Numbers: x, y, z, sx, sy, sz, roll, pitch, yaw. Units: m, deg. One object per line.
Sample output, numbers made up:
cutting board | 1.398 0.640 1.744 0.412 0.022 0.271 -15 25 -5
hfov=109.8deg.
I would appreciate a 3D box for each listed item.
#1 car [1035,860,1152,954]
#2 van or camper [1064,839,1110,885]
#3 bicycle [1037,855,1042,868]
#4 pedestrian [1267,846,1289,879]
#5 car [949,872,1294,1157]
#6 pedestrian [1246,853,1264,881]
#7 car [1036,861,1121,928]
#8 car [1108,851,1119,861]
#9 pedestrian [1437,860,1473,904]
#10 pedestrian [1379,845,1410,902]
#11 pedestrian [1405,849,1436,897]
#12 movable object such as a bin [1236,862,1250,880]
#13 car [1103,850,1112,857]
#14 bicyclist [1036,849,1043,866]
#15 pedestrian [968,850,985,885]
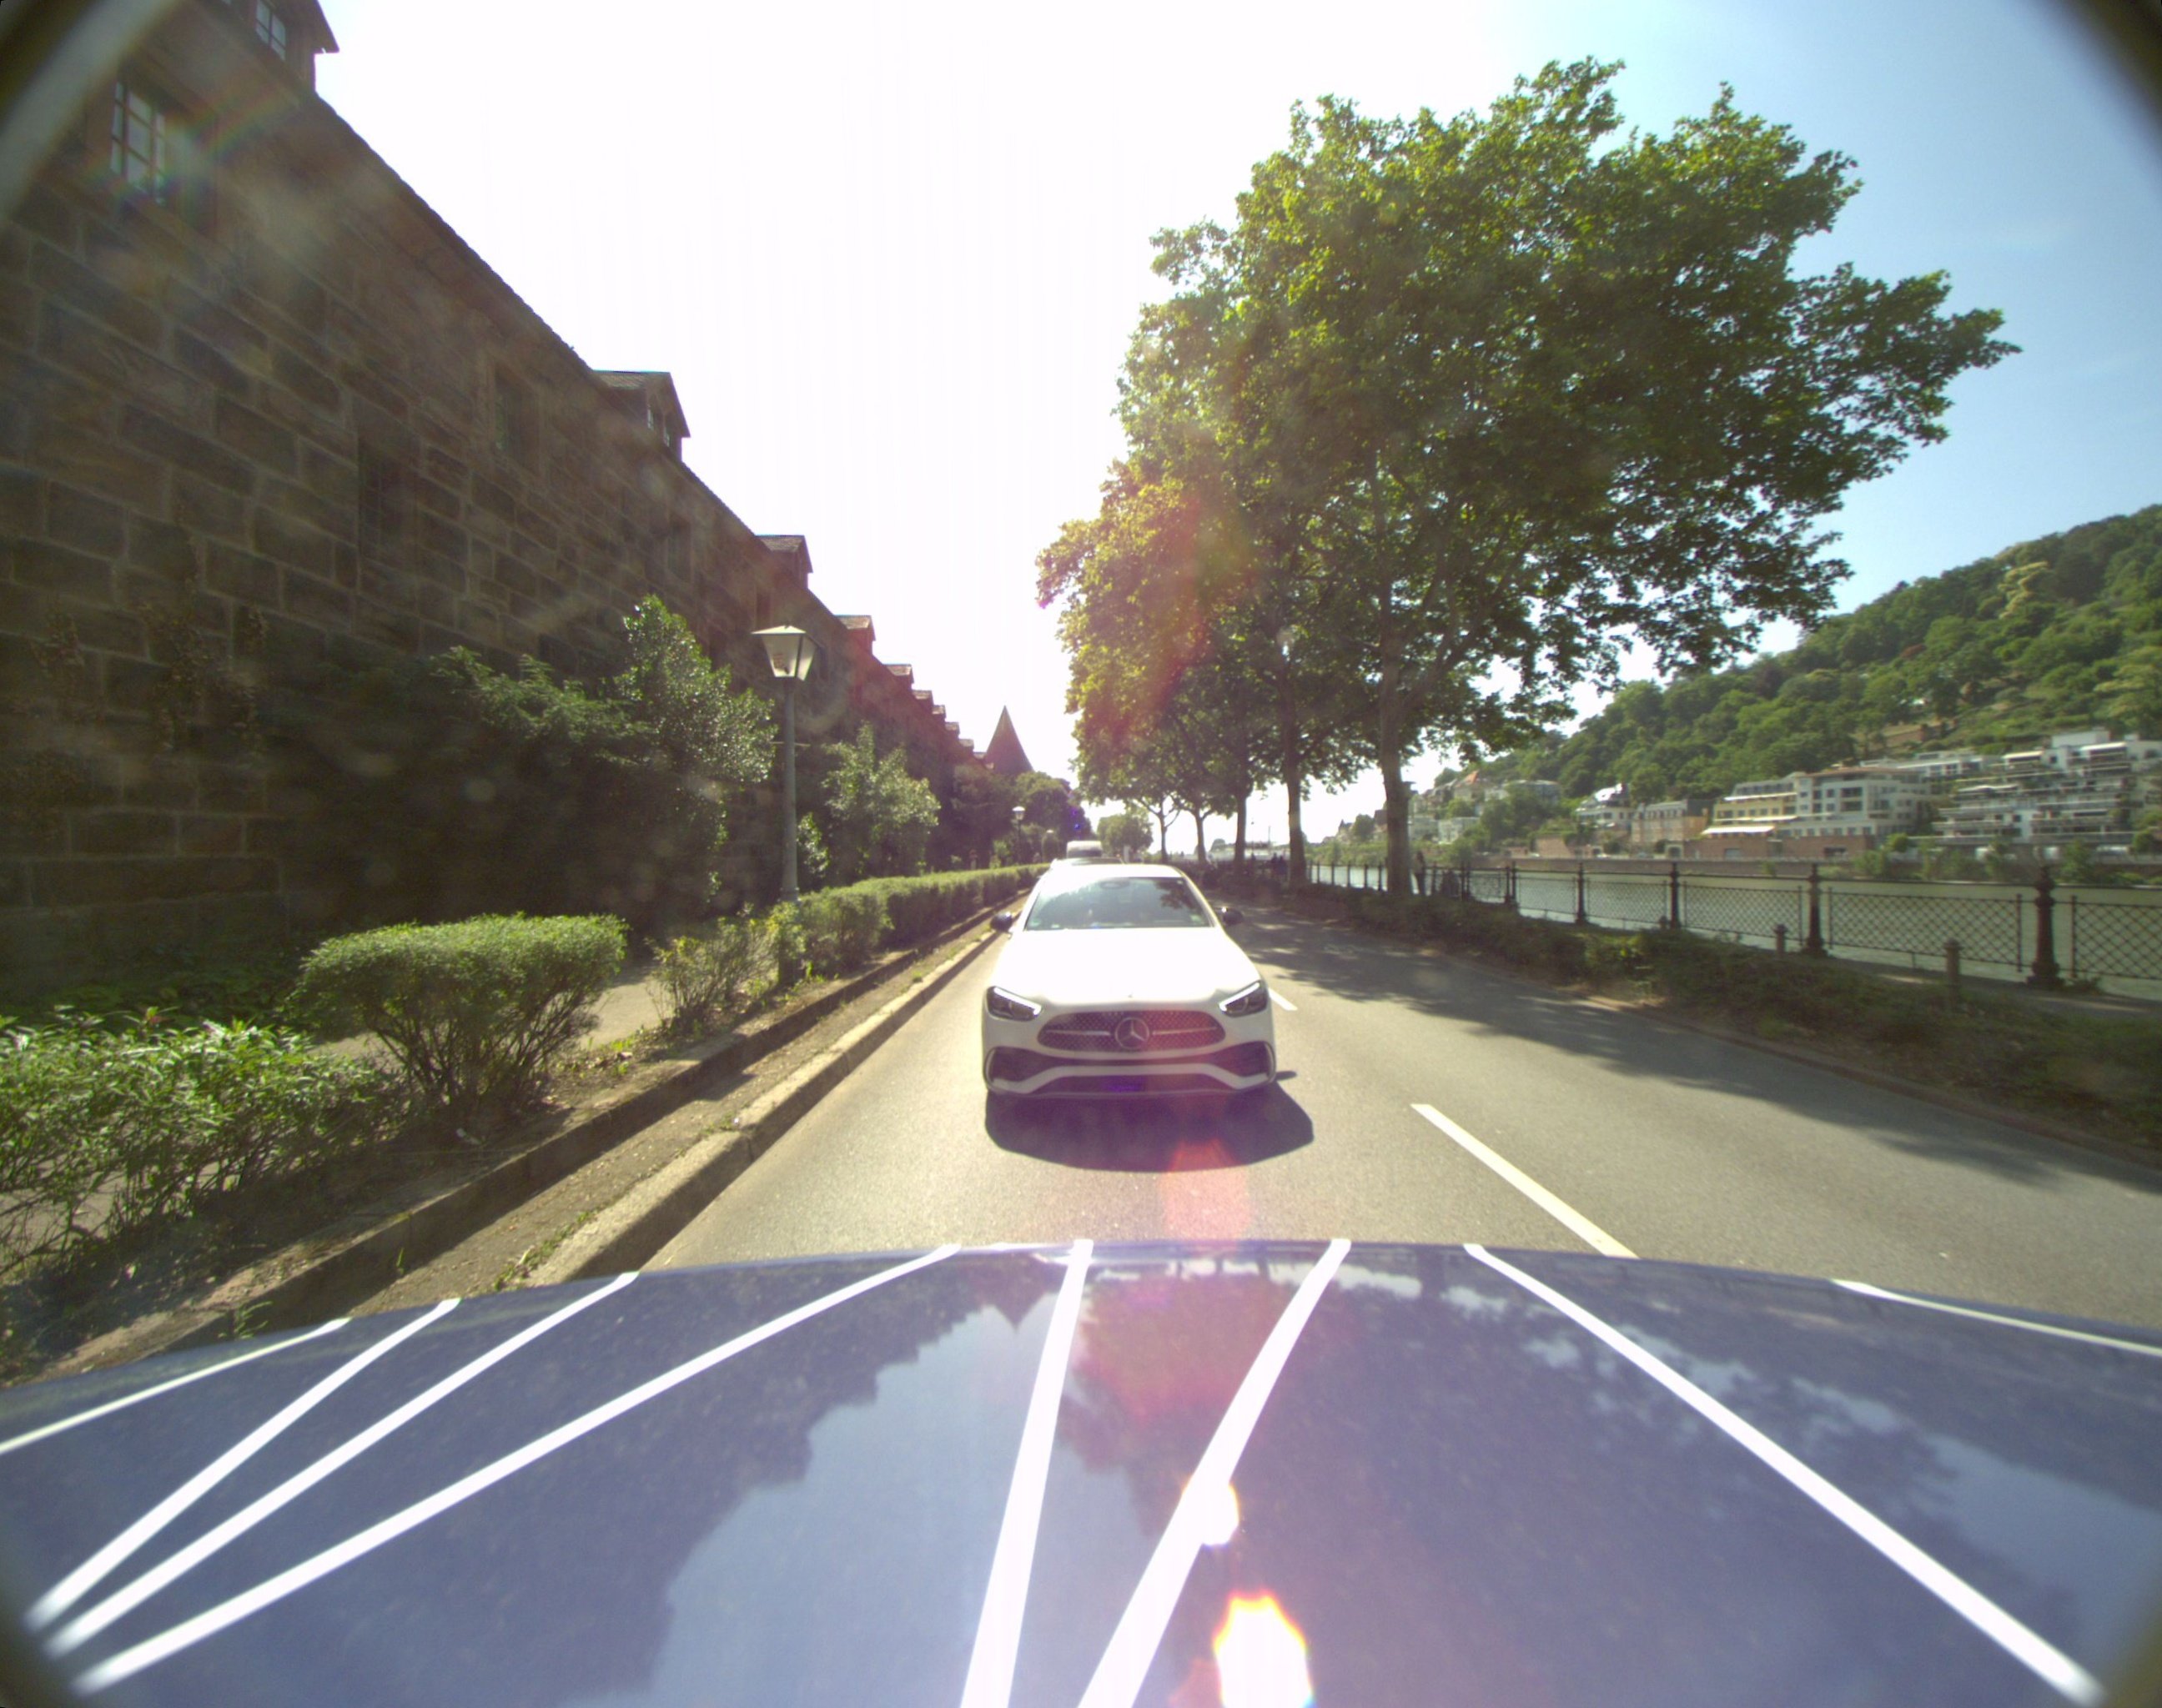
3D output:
car | 0.231 0.877 14.411 1.833 1.428 4.270 -2 0 1
van or camper | 0.327 0.404 41.682 2.313 2.358 5.035 1 0 0
bicycle | -3.760 0.683 68.590 0.406 1.169 1.576 -2 1 -2
pedestrian | 12.176 0.535 46.975 1.047 2.002 1.036 -1 1 31
car | 0.249 0.931 6.278 1.833 1.395 4.270 -2 0 1
pedestrian | 10.652 0.774 46.586 0.897 1.625 1.059 -2 1 6
car | -0.026 0.918 19.084 1.833 1.395 4.424 -2 0 1
car | 6.539 0.401 154.527 2.165 2.002 4.000 -2 1 1
pedestrian | 12.100 0.897 24.619 0.768 1.379 0.770 1 0 0
pedestrian | 10.588 0.649 25.657 0.767 1.889 0.771 1 1 8
pedestrian | 12.813 0.709 28.712 0.777 1.748 0.830 1 1 0
movable object such as a bin | 10.134 1.071 47.533 0.703 1.043 0.783 -2 1 4
car | 7.269 -0.167 208.293 2.165 2.002 4.000 -2 1 1
bicyclist | -3.781 0.288 68.767 0.550 1.513 0.583 -2 1 -1
pedestrian | -4.790 0.612 34.781 0.643 1.555 0.563 -2 1 1
